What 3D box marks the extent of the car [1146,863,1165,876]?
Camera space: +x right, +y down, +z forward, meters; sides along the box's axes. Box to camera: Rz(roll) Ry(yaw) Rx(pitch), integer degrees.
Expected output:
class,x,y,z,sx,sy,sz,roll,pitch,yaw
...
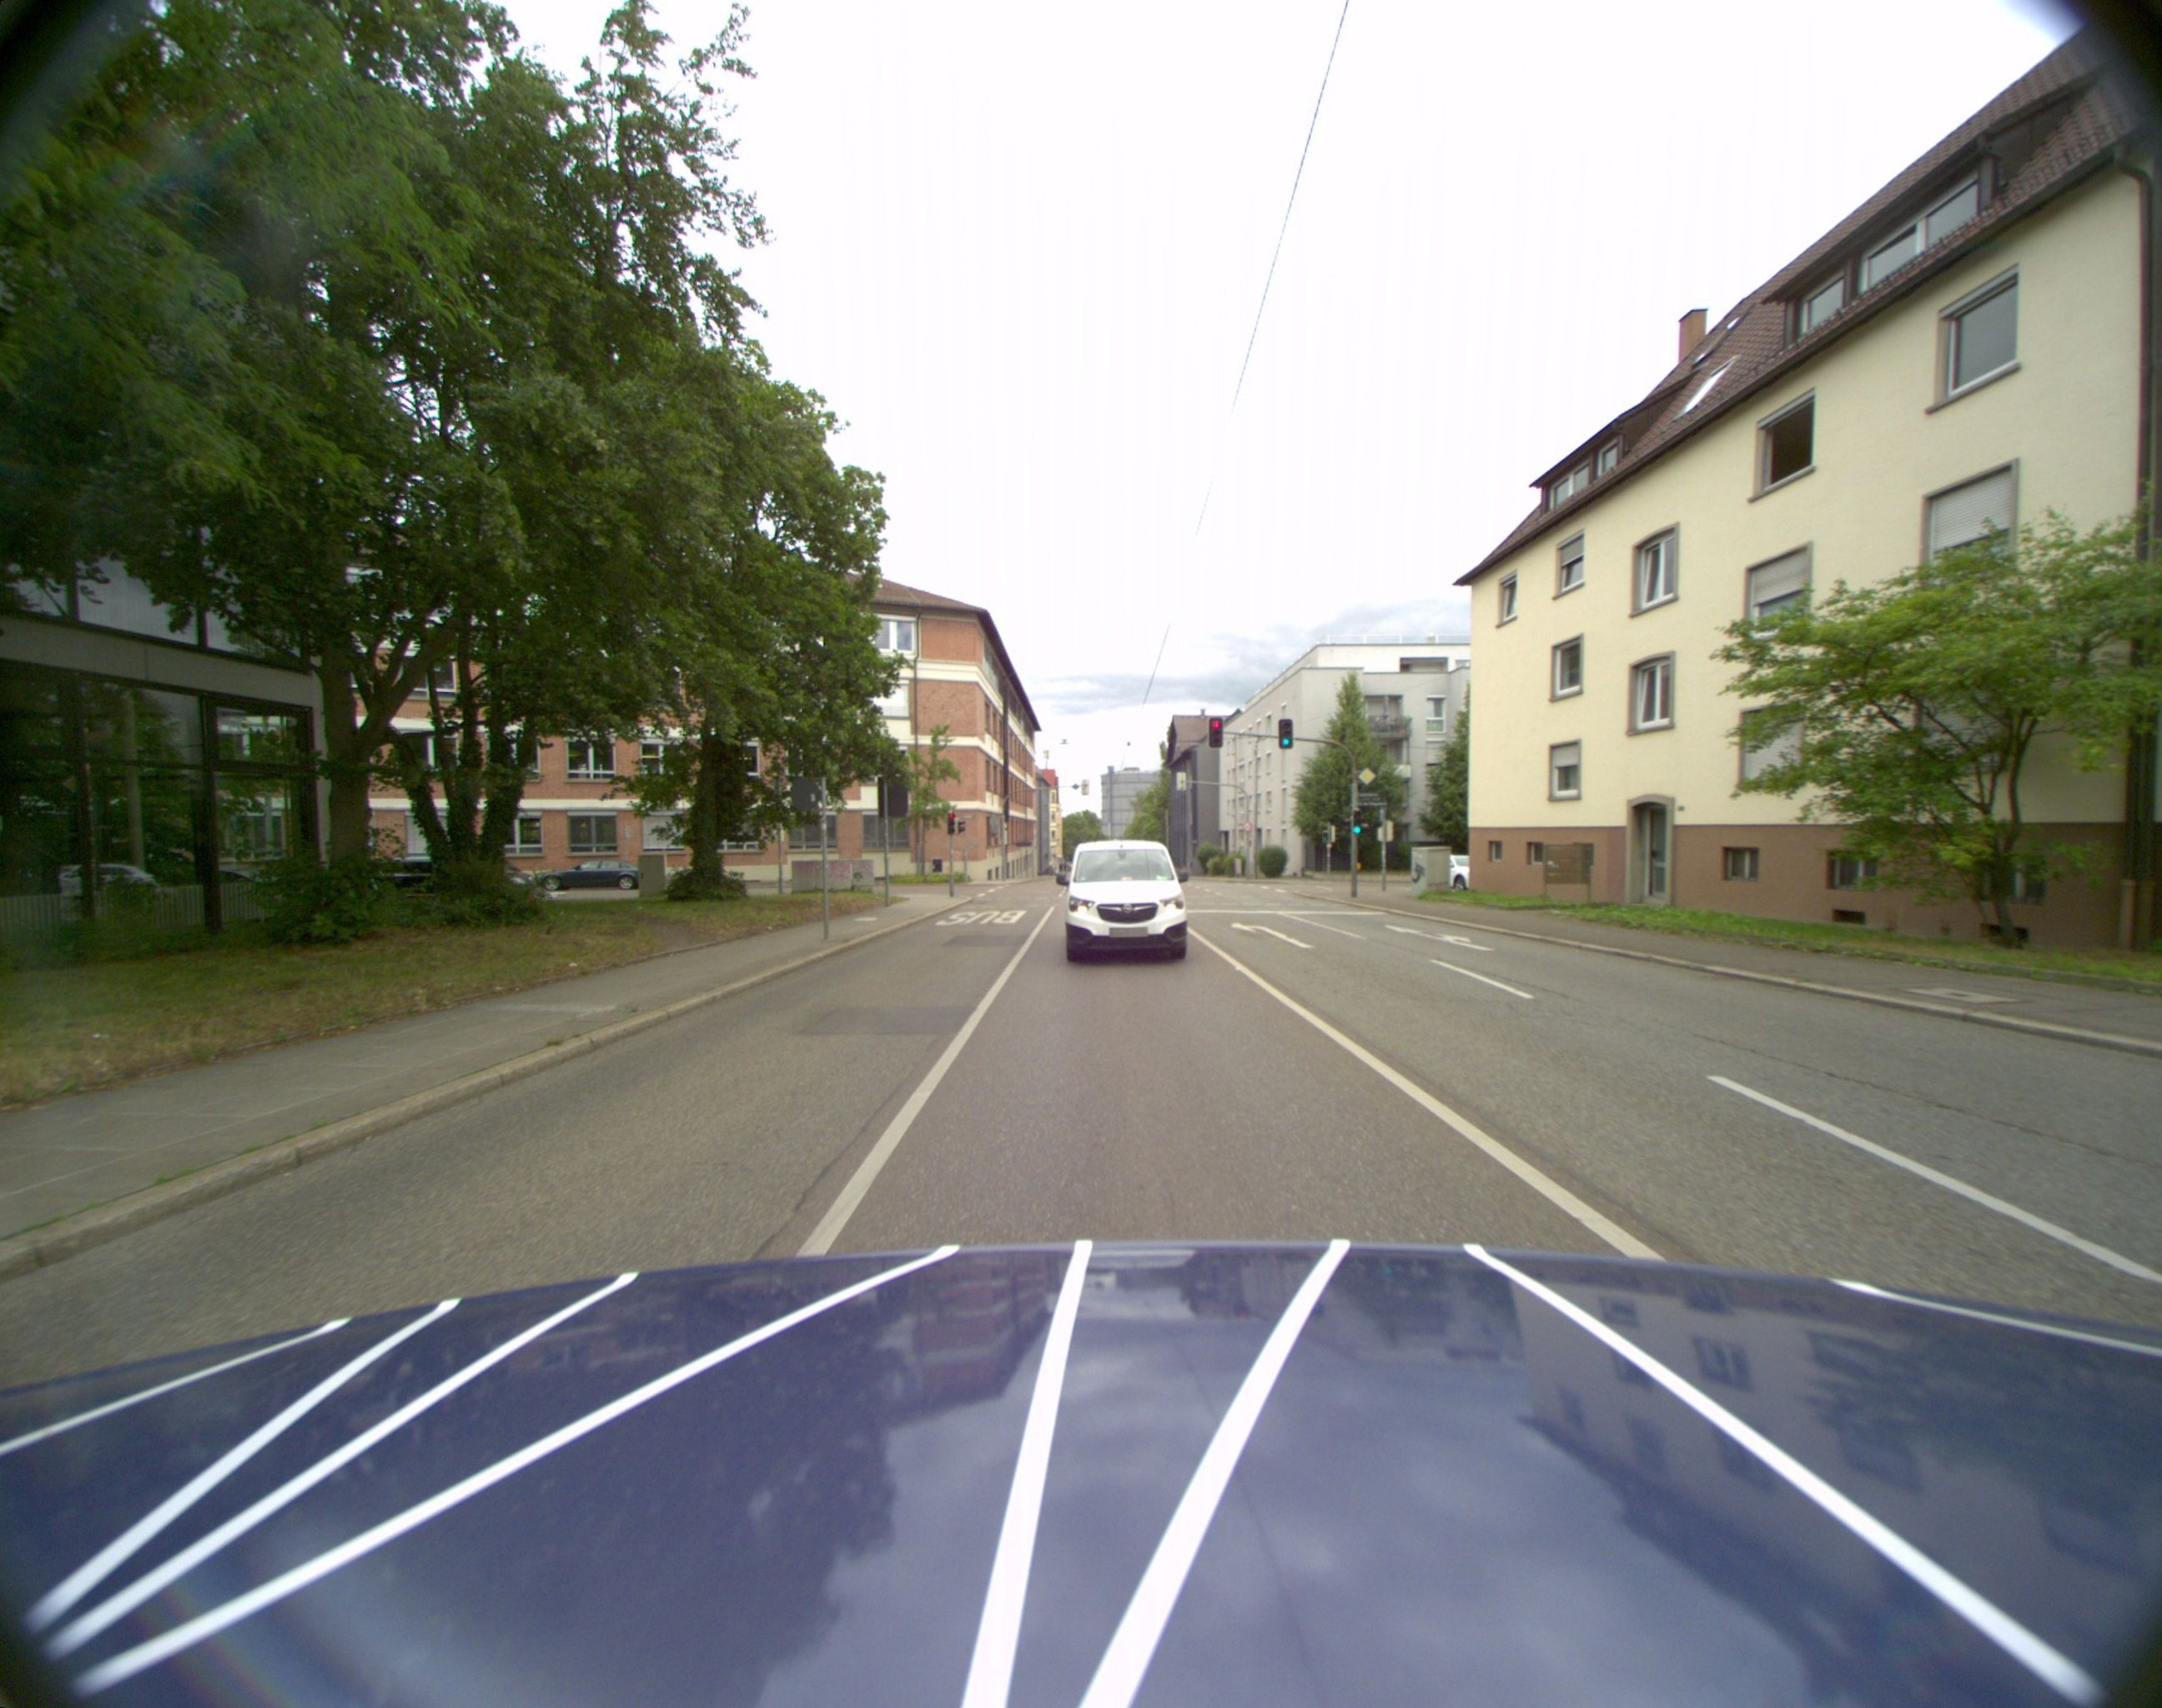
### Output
class,x,y,z,sx,sy,sz,roll,pitch,yaw
car,8.317,1.677,84.821,1.799,1.401,4.000,0,0,1

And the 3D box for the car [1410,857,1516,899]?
class,x,y,z,sx,sy,sz,roll,pitch,yaw
car,14.984,0.939,30.100,1.819,1.527,4.260,1,-1,-4

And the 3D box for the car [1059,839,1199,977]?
class,x,y,z,sx,sy,sz,roll,pitch,yaw
car,0.690,0.772,12.433,1.850,1.831,4.285,-1,-1,1

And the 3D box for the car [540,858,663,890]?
class,x,y,z,sx,sy,sz,roll,pitch,yaw
car,-21.572,0.902,34.387,4.425,1.396,1.771,0,-3,-21

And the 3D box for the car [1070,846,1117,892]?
class,x,y,z,sx,sy,sz,roll,pitch,yaw
car,0.561,0.607,32.671,1.850,1.832,4.283,-1,0,1

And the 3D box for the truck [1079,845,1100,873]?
class,x,y,z,sx,sy,sz,roll,pitch,yaw
truck,1.161,0.646,99.594,2.545,3.478,8.521,0,0,1

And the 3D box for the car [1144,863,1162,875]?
class,x,y,z,sx,sy,sz,roll,pitch,yaw
car,8.557,1.769,90.724,1.799,1.401,4.000,0,0,1
